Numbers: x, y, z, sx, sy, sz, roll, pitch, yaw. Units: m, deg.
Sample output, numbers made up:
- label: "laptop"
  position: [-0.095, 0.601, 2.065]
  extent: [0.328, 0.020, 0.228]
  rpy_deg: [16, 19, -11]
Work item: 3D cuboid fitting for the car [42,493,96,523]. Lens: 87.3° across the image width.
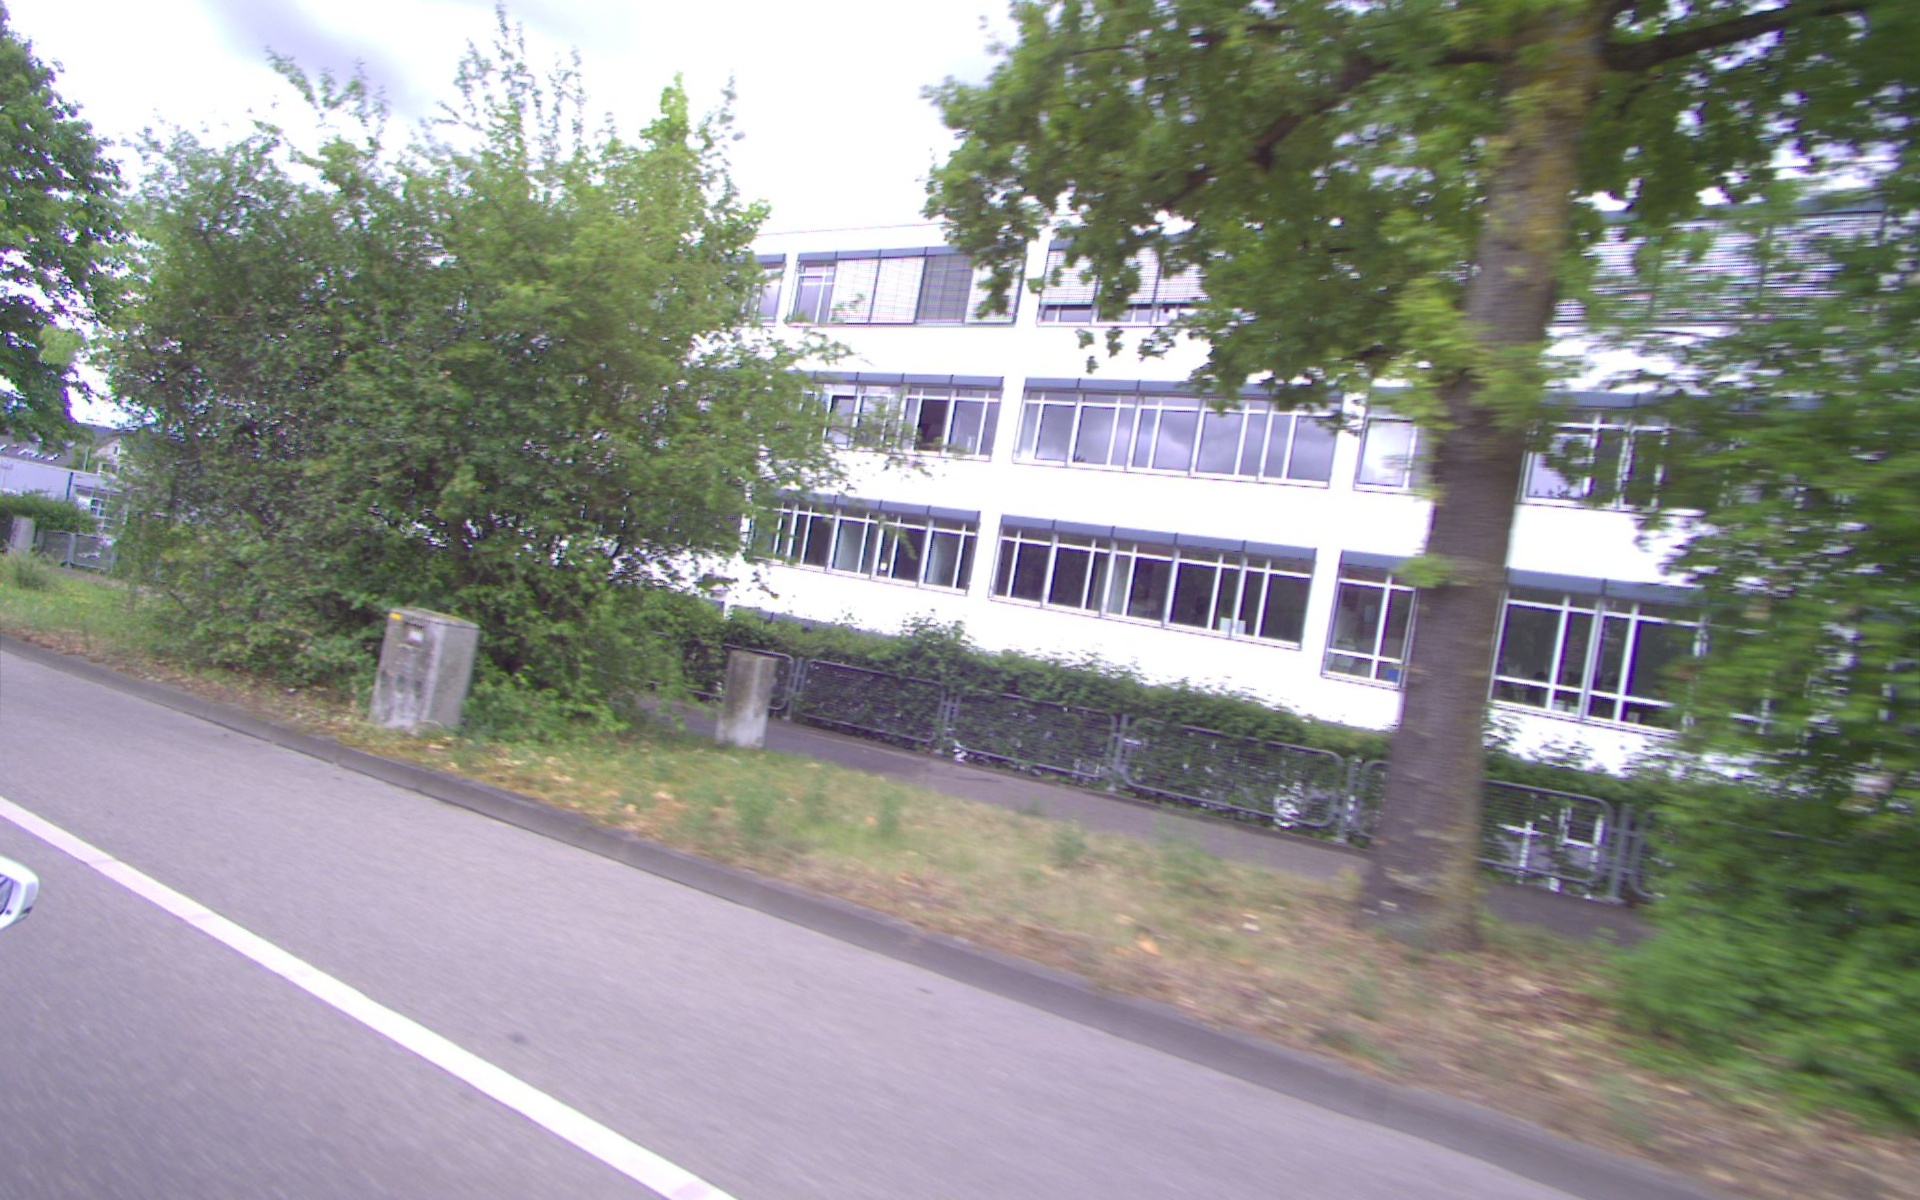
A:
- label: "car"
  position: [-100.593, -10.342, 113.649]
  extent: [2.230, 2.708, 5.429]
  rpy_deg: [9, 0, -17]
